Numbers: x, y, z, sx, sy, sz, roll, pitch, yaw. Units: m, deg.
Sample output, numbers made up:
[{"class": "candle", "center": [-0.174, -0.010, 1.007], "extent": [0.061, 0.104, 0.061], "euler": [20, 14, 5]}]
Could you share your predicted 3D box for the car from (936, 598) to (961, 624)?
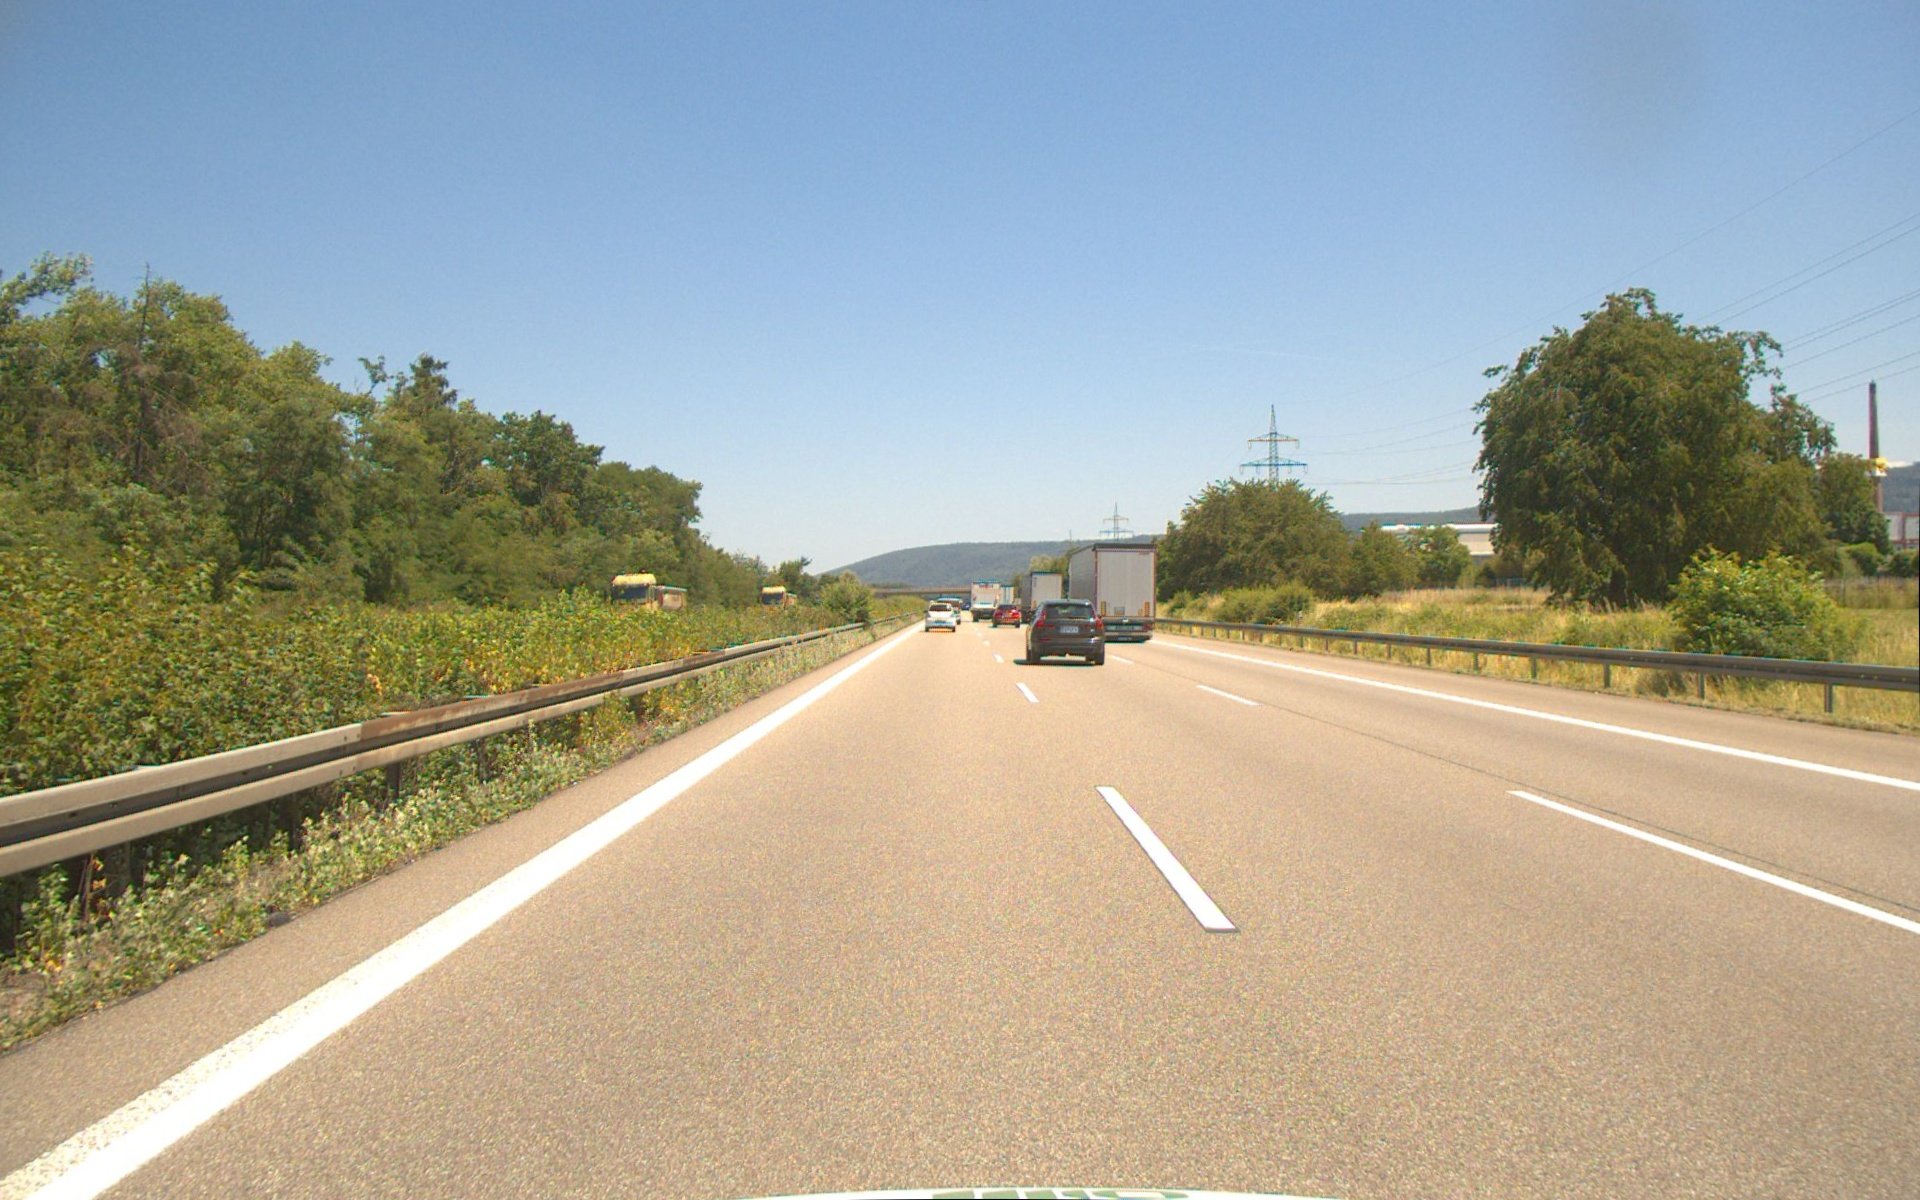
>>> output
[{"class": "car", "center": [-0.854, 0.818, 122.012], "extent": [1.725, 1.883, 3.999], "euler": [-1, 0, -1]}]

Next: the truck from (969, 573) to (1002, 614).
[{"class": "truck", "center": [2.161, -0.504, 144.807], "extent": [2.725, 3.432, 8.126], "euler": [0, 0, 0]}]

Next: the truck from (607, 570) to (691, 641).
[{"class": "truck", "center": [-17.732, 0.331, 95.127], "extent": [2.487, 3.698, 11.843], "euler": [-2, 0, 0]}]

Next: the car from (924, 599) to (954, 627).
[{"class": "car", "center": [-1.148, 0.693, 90.018], "extent": [1.574, 1.493, 3.999], "euler": [-1, 0, -1]}]

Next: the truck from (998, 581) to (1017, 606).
[{"class": "truck", "center": [6.484, -0.895, 225.283], "extent": [2.176, 3.265, 10.383], "euler": [-1, 0, 0]}]

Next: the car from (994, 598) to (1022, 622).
[{"class": "car", "center": [3.153, 0.651, 109.205], "extent": [1.766, 1.572, 4.000], "euler": [0, 0, 0]}]

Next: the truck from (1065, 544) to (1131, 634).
[{"class": "truck", "center": [6.669, -0.501, 80.866], "extent": [2.680, 4.192, 6.124], "euler": [0, 0, 0]}]

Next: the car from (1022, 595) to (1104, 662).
[{"class": "car", "center": [2.631, 0.708, 42.934], "extent": [1.835, 1.652, 4.003], "euler": [0, 0, -1]}]

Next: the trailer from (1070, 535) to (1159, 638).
[{"class": "trailer", "center": [6.698, -0.525, 73.659], "extent": [2.680, 4.178, 13.120], "euler": [0, 0, 0]}]

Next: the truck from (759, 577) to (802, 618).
[{"class": "truck", "center": [-17.453, -0.255, 161.647], "extent": [2.840, 3.770, 11.897], "euler": [-3, 0, 0]}]

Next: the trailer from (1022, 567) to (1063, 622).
[{"class": "trailer", "center": [6.737, -0.422, 136.688], "extent": [2.731, 4.237, 13.574], "euler": [-1, 0, 0]}]
